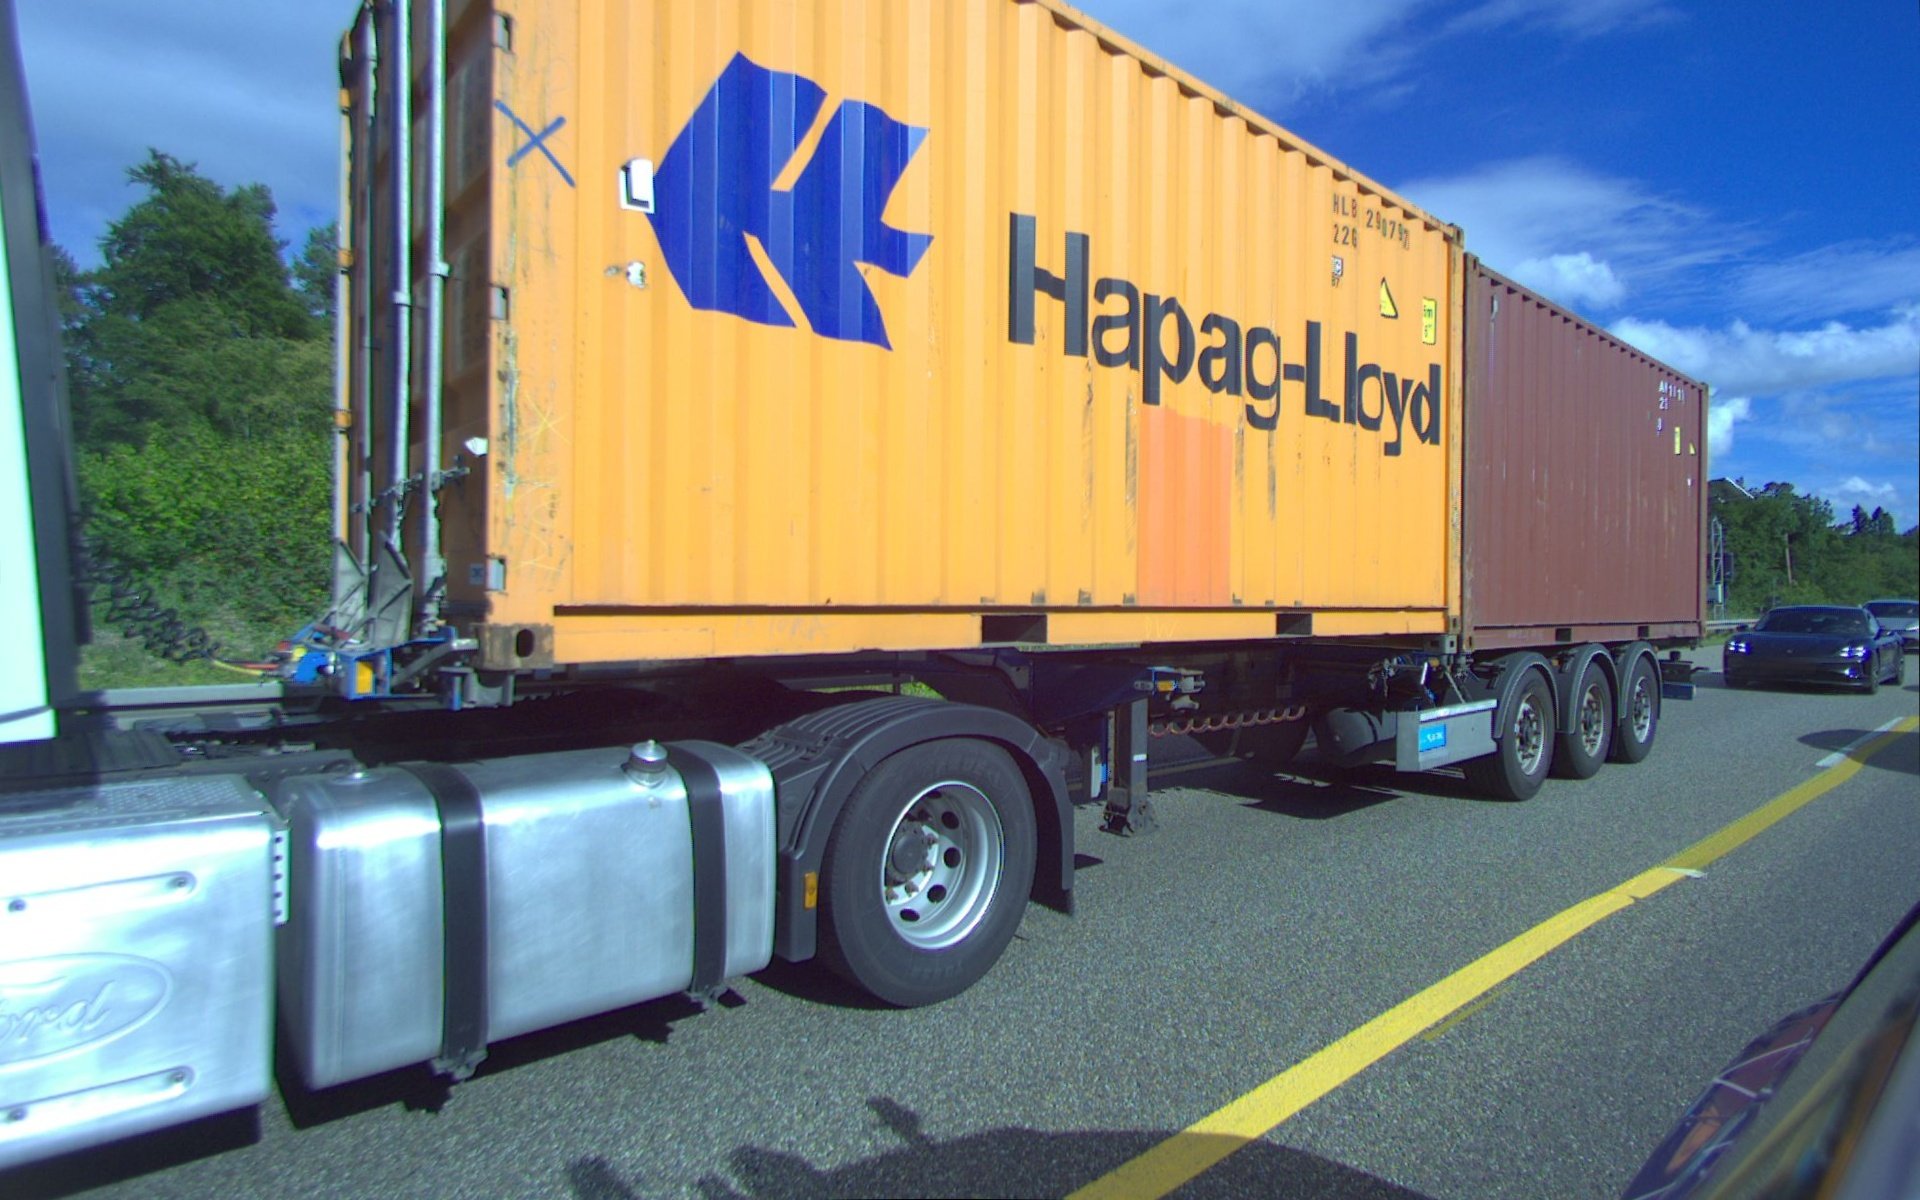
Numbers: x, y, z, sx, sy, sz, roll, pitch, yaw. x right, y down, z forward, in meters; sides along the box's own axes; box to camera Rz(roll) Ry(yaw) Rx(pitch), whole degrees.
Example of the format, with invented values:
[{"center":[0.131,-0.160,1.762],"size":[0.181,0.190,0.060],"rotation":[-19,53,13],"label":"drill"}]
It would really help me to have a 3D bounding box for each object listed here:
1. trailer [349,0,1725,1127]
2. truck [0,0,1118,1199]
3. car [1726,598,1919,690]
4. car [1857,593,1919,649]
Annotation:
[{"center":[2.601,-0.612,7.439],"size":[11.924,3.822,2.475],"rotation":[0,0,-41],"label":"trailer"},{"center":[-2.323,-0.571,3.126],"size":[5.689,3.828,2.499],"rotation":[0,0,-41],"label":"truck"},{"center":[14.994,0.663,17.473],"size":[4.399,1.367,1.932],"rotation":[0,0,-41],"label":"car"},{"center":[27.600,0.561,29.432],"size":[3.898,1.498,1.761],"rotation":[-1,1,-40],"label":"car"}]
